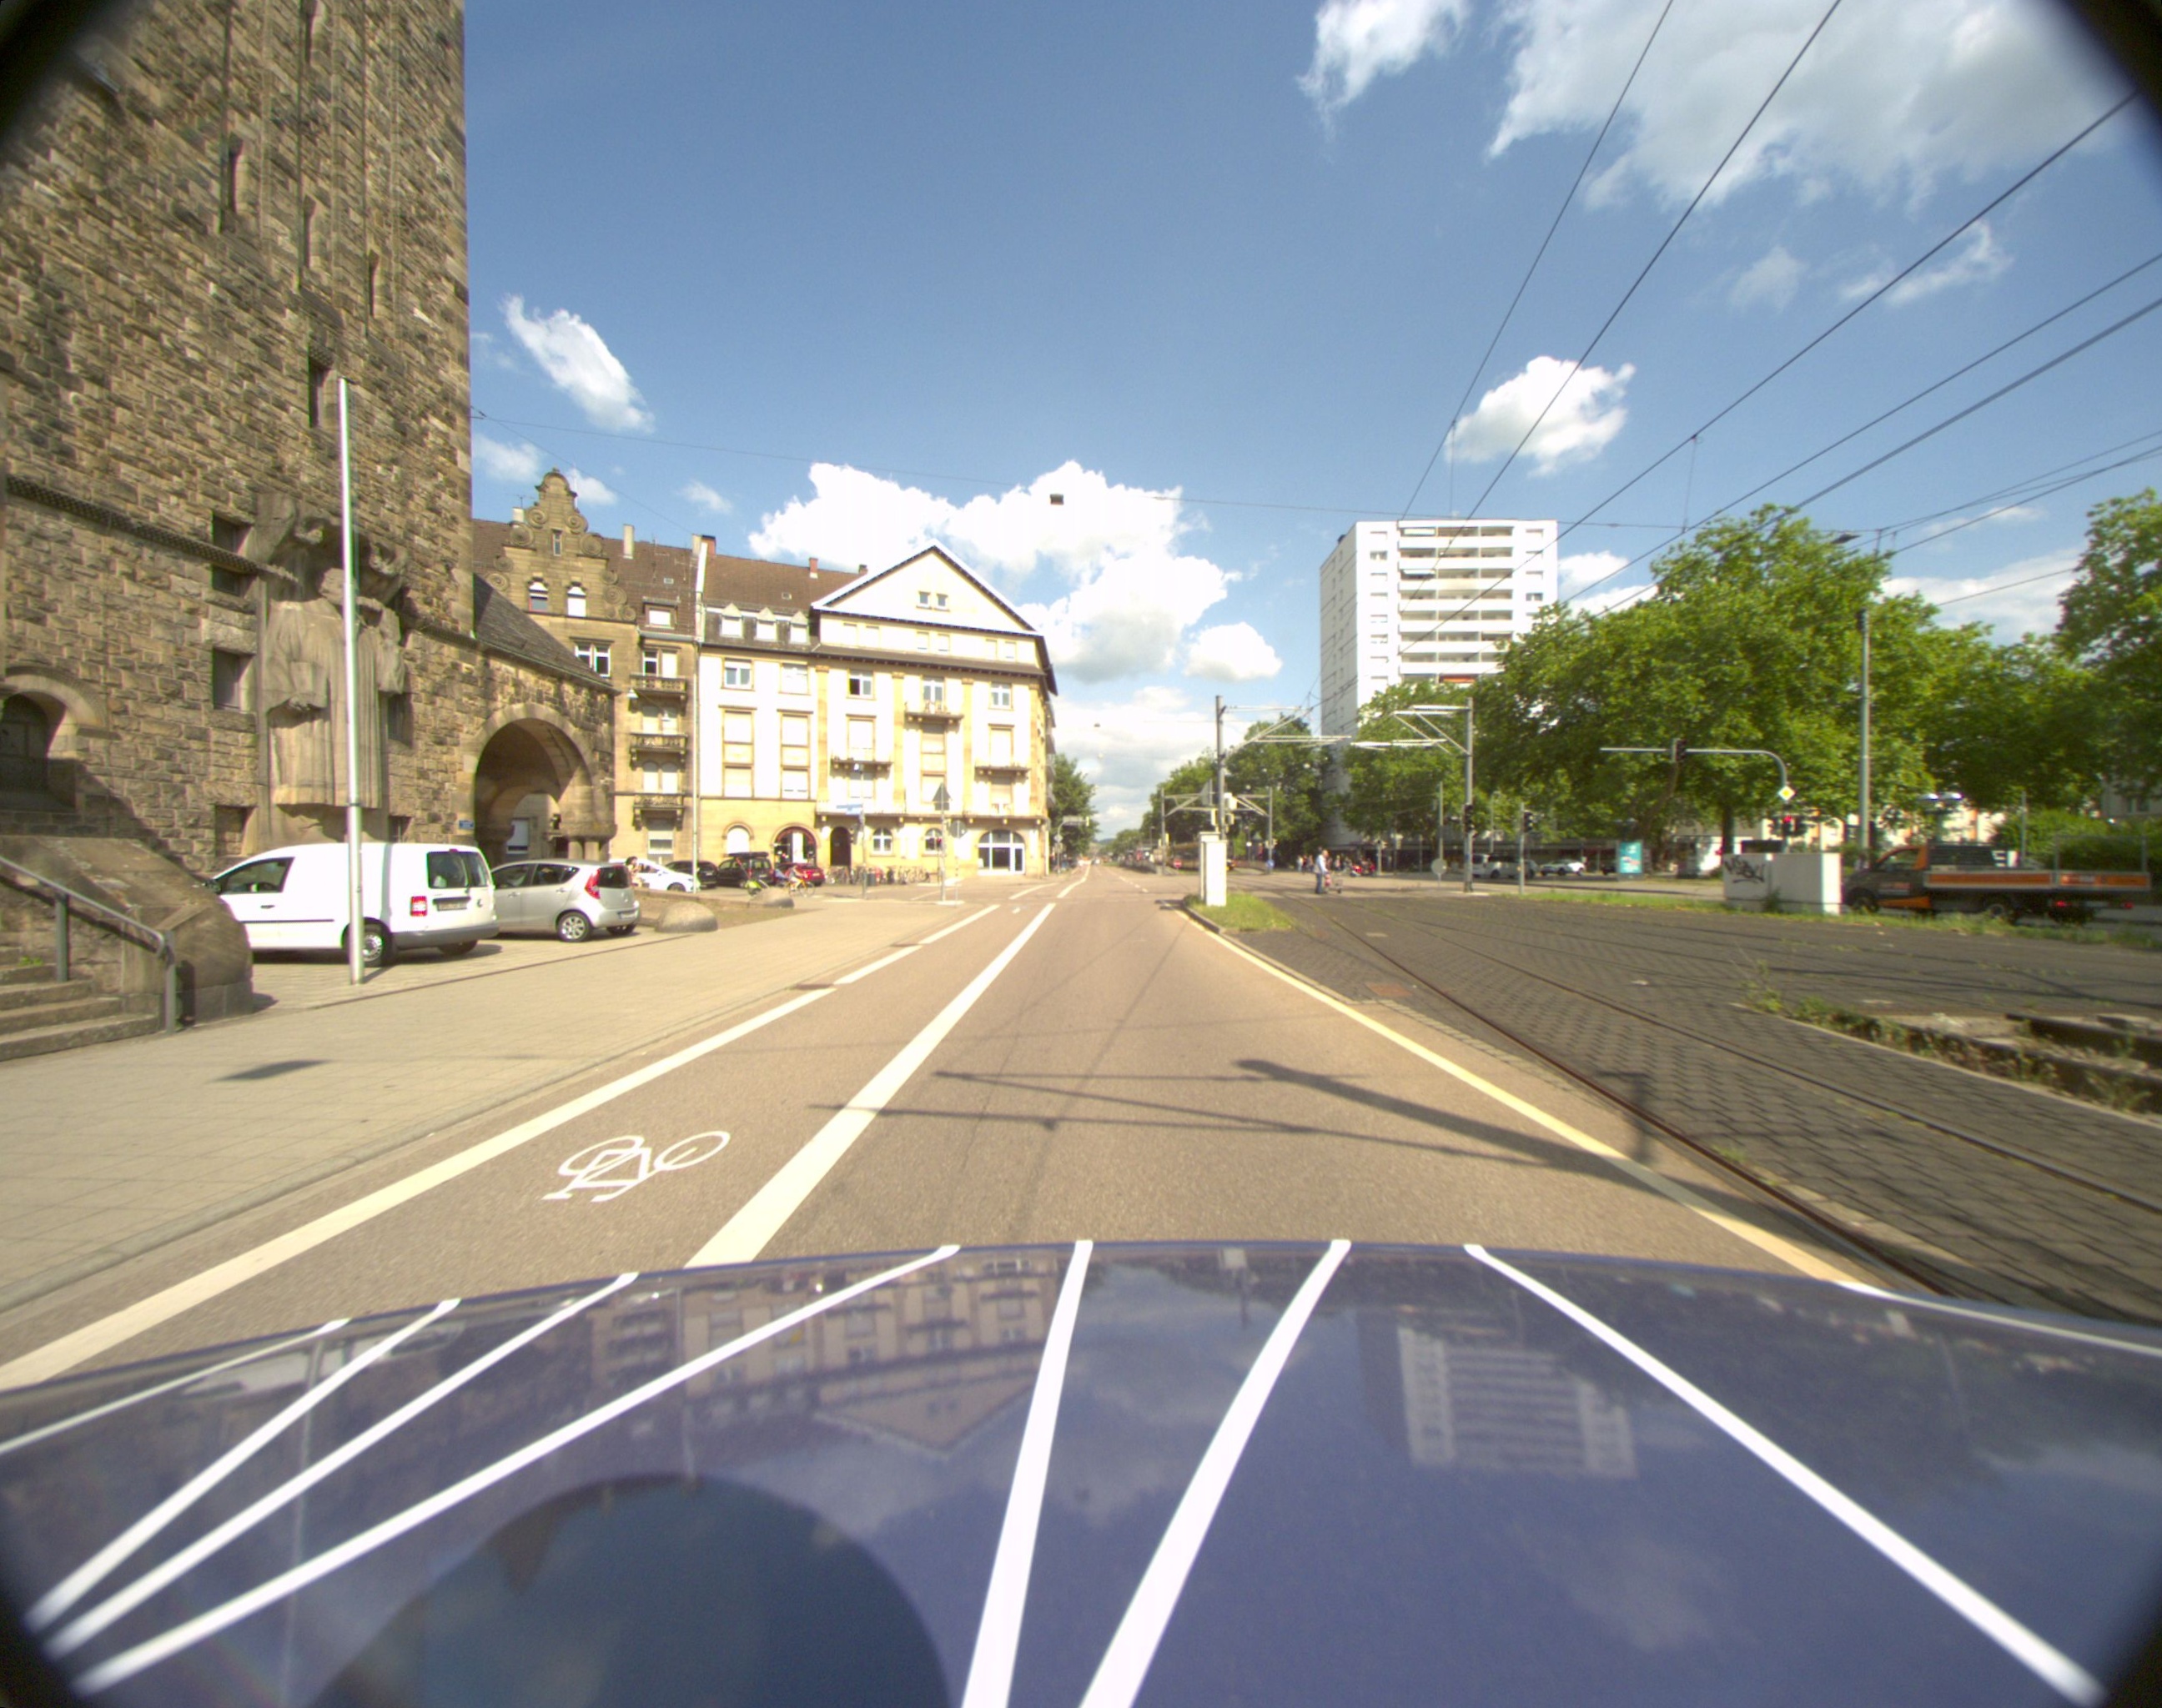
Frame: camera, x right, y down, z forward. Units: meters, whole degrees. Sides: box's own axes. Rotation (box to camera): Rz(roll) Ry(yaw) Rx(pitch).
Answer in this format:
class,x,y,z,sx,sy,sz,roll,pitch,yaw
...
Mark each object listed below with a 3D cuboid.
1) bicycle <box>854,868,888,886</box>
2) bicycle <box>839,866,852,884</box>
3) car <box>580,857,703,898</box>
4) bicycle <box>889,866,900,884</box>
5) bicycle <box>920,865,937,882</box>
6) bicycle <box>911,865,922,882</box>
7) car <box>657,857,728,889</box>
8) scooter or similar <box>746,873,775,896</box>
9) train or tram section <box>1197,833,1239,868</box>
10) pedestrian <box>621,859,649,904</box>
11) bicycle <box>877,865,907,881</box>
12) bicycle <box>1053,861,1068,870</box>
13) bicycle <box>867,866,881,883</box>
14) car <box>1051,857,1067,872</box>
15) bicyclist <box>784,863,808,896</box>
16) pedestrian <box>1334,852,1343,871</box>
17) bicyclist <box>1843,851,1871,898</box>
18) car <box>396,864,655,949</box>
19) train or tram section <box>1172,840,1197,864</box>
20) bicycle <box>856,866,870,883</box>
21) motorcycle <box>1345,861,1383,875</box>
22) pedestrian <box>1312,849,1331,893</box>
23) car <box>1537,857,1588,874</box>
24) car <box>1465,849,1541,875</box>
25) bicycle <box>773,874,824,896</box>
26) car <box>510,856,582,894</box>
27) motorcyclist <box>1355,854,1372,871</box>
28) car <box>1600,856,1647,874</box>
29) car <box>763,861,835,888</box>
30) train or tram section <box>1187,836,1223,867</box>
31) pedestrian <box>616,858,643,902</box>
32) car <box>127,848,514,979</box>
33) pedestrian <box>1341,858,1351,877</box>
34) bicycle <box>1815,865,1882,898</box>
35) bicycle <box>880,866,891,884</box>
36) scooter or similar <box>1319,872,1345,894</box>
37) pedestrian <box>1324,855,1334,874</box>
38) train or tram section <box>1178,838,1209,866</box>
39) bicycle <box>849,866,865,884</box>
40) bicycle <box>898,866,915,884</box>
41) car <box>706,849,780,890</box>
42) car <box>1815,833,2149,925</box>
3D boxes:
class,x,y,z,sx,sy,sz,roll,pitch,yaw
bicycle,-12.902,1.408,46.760,1.932,1.013,0.538,-1,3,-41
bicycle,-15.039,1.314,48.406,0.541,1.013,1.924,-1,3,-25
car,-19.808,1.042,34.525,4.669,1.730,1.811,0,0,-25
bicycle,-11.983,1.337,48.890,0.540,1.013,1.926,0,2,-10
bicycle,-10.180,1.293,50.764,0.611,1.013,1.872,-1,2,-27
bicycle,-10.927,1.274,50.507,0.610,1.013,1.874,0,2,-15
car,-22.560,1.065,44.104,3.988,1.659,1.714,2,2,29
scooter or similar,-14.467,1.376,34.318,1.133,0.971,0.888,0,0,-28
train or tram section,14.504,-0.350,81.431,2.802,3.540,11.378,-1,0,2
pedestrian,-14.495,0.887,24.683,0.557,1.398,0.519,2,-4,44
bicycle,-12.543,1.282,50.469,1.930,1.013,0.539,0,3,-21
bicycle,-2.343,1.352,87.927,1.693,0.980,0.497,0,0,-2
bicycle,-13.498,1.312,49.467,0.541,1.013,1.924,-1,3,-25
car,-2.695,1.349,95.418,1.851,1.779,4.000,2,0,0
bicyclist,-13.233,1.188,35.268,0.923,1.494,0.651,-1,-1,-28
pedestrian,24.044,0.701,70.993,0.671,1.693,0.648,0,1,4
bicyclist,27.720,0.725,27.150,0.582,1.658,0.508,-3,0,40
car,-10.852,0.983,15.045,3.776,1.538,1.798,-1,0,0
train or tram section,15.569,-0.307,114.843,2.773,3.462,8.908,0,0,2
bicycle,-14.118,1.320,49.157,0.541,1.013,1.924,-1,3,-25
motorcycle,20.346,1.000,54.691,2.502,0.971,0.699,0,1,7
pedestrian,9.296,0.652,29.412,0.528,1.722,0.557,0,0,-4
car,43.277,0.985,68.304,4.080,1.481,1.858,0,0,-20
car,31.549,0.590,56.842,5.176,1.881,1.996,0,1,-19
bicycle,-13.121,1.424,35.329,2.137,0.983,0.651,0,0,-28
car,-29.027,1.098,41.194,3.988,1.815,1.920,2,3,35
motorcyclist,20.345,0.608,54.689,0.976,1.210,0.699,0,1,7
car,50.796,0.995,71.116,4.004,1.610,1.687,0,0,-21
car,-17.182,1.198,46.299,3.988,1.433,1.971,2,2,29
train or tram section,14.958,-0.278,92.659,2.813,3.540,11.182,-1,0,2
pedestrian,-14.897,0.846,25.085,0.557,1.398,0.519,2,-4,44
car,-11.486,0.849,11.720,4.013,1.813,1.863,-1,0,-2
pedestrian,23.866,1.197,68.371,0.671,1.693,0.648,0,1,4
bicycle,27.552,0.993,27.301,1.627,1.106,0.508,-3,0,40
bicycle,-12.491,1.349,48.560,0.540,1.013,1.926,0,2,-10
scooter or similar,9.721,1.124,29.439,0.840,0.799,0.553,0,0,-3
pedestrian,21.985,0.928,67.427,0.671,1.693,0.648,0,1,4
train or tram section,15.303,-0.310,104.351,2.812,3.540,12.157,0,0,2
bicycle,-14.108,1.318,47.852,0.541,1.013,1.923,-1,3,-28
bicycle,-11.197,1.328,48.889,0.602,1.013,1.876,1,2,2
car,-20.156,0.893,45.279,3.988,2.071,1.971,5,4,29
car,22.049,0.616,19.097,2.080,1.974,5.337,0,-1,1
